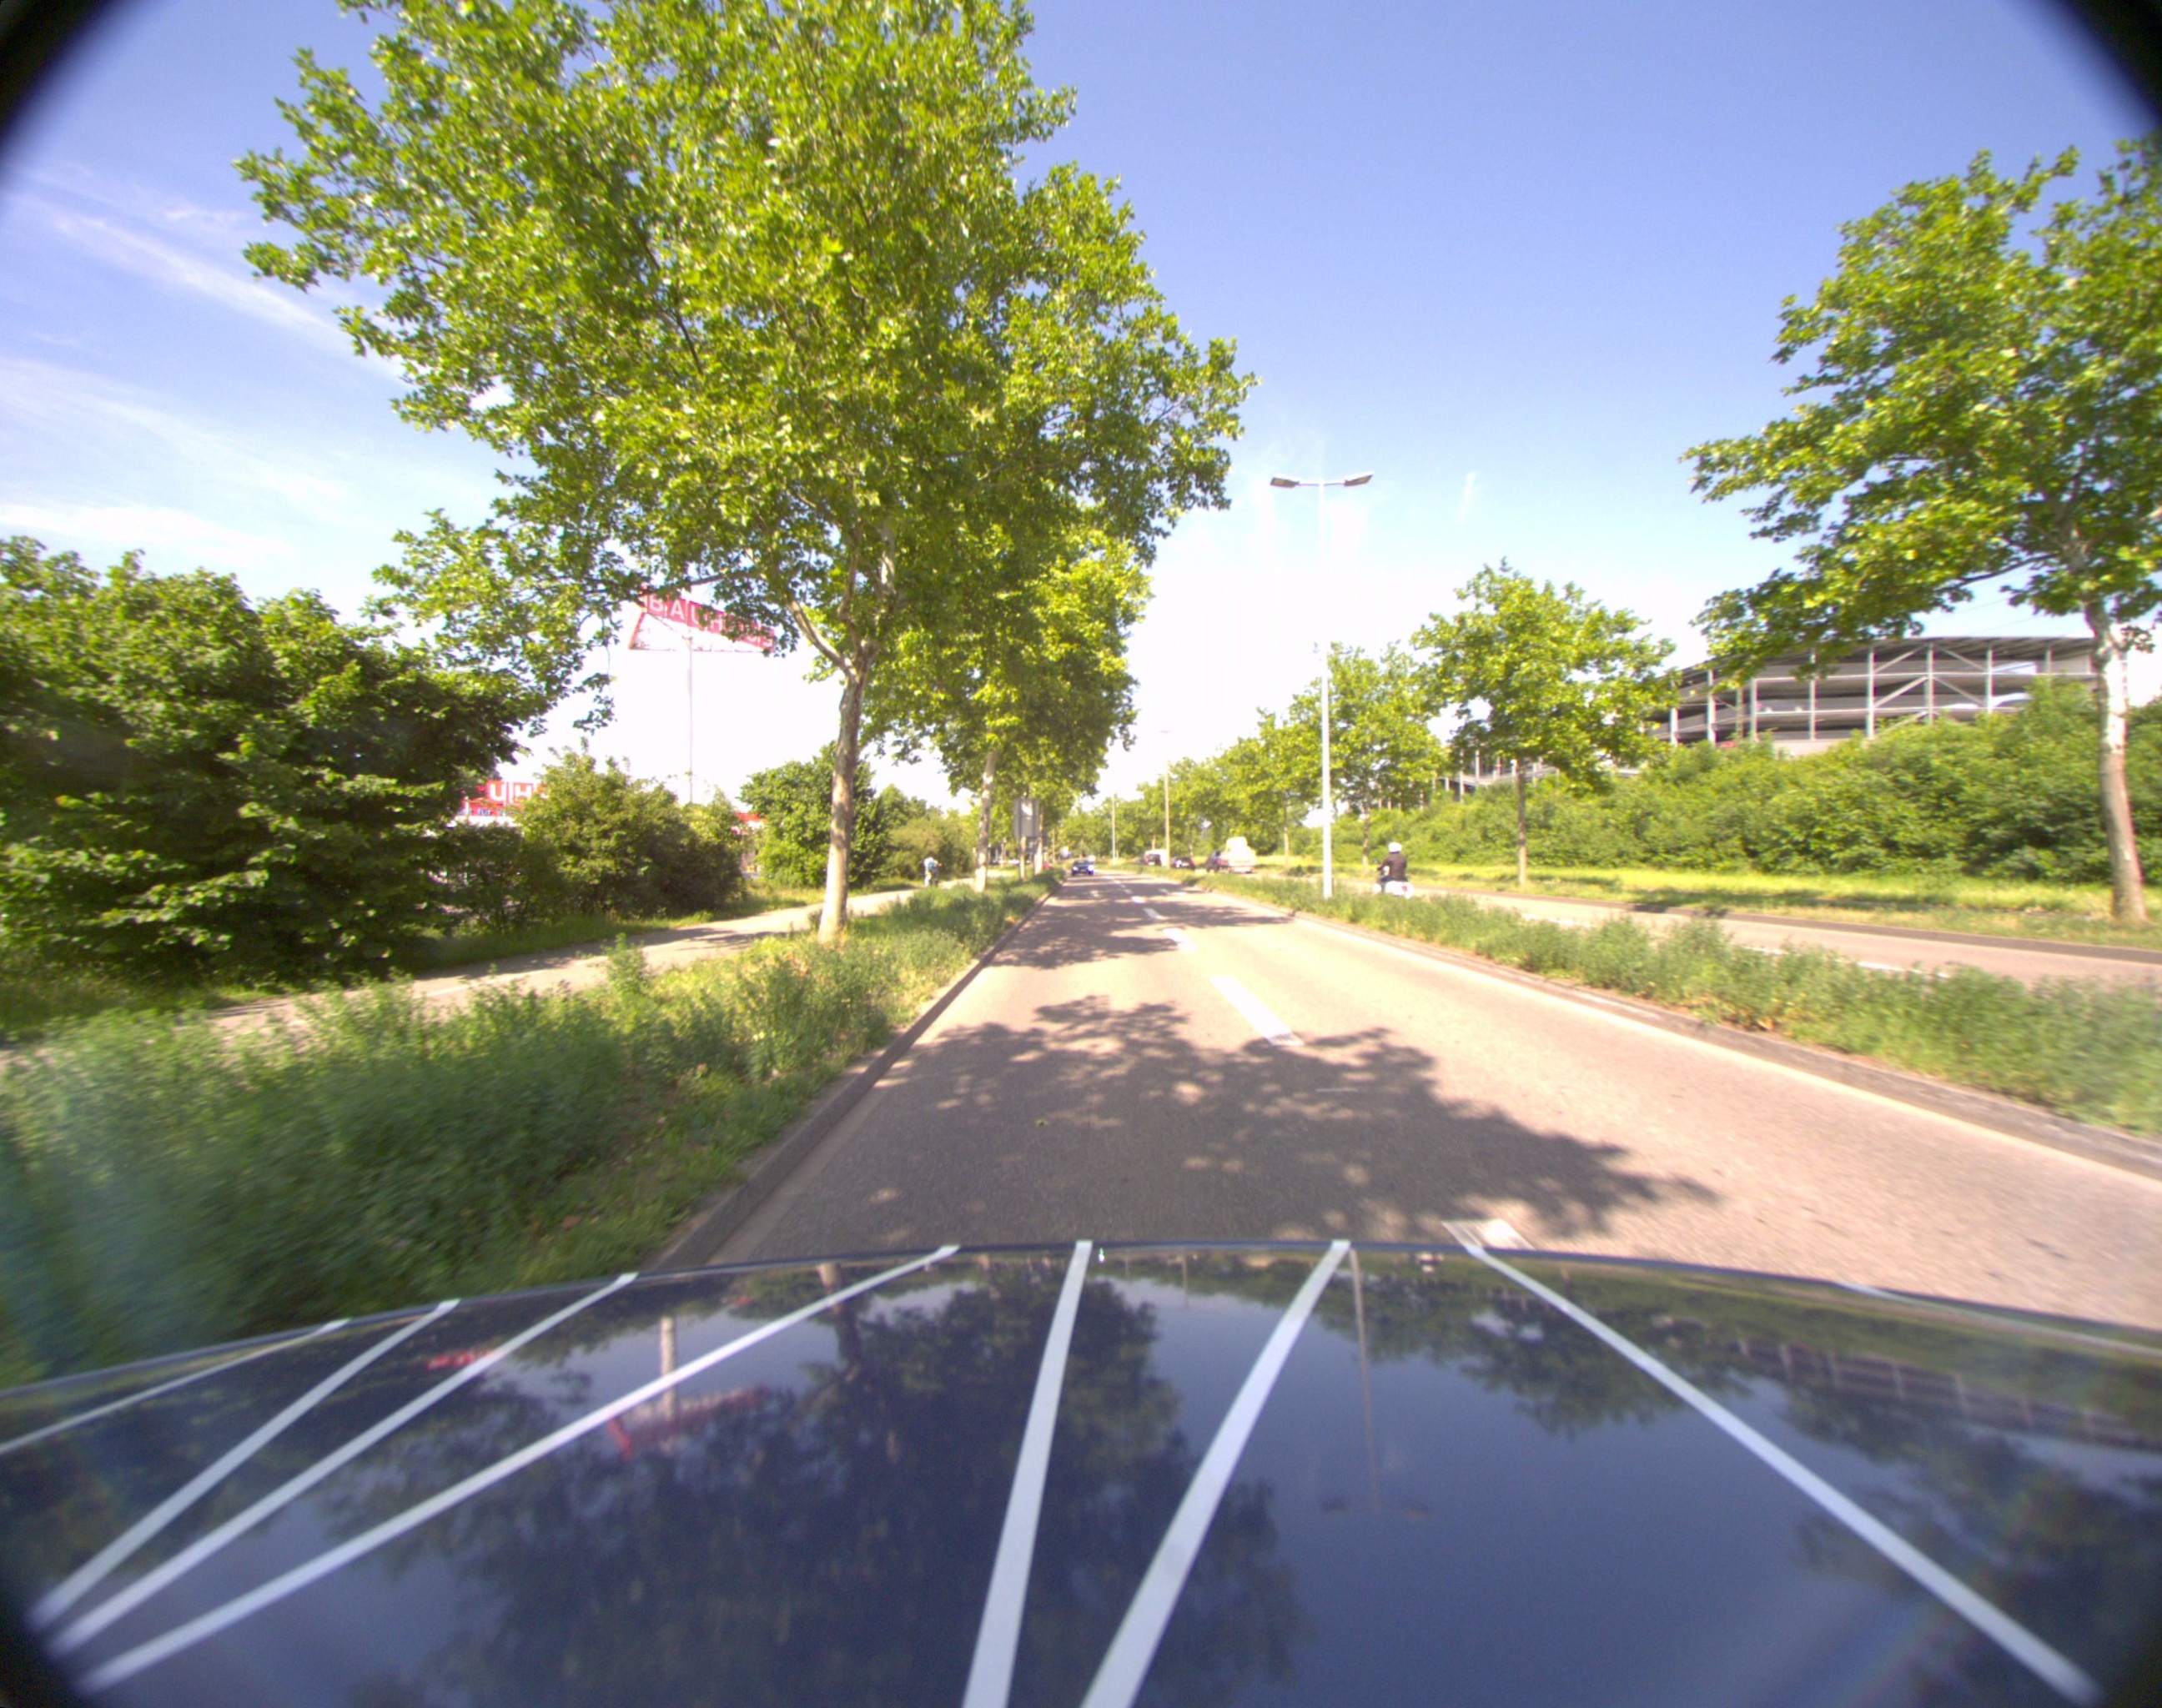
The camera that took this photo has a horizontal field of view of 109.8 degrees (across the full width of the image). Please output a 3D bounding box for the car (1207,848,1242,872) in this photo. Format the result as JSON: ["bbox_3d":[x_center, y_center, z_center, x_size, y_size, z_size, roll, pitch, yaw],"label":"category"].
[{"bbox_3d":[11.508,0.416,61.347,1.769,1.779,5.375,-2,1,0],"label":"car"}]

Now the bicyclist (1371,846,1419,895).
[{"bbox_3d":[7.919,0.399,19.182,0.730,1.184,1.102,-2,1,1],"label":"bicyclist"}]

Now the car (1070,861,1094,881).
[{"bbox_3d":[0.089,1.459,66.646,1.722,1.575,3.752,-1,0,-6],"label":"car"}]

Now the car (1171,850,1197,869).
[{"bbox_3d":[8.454,0.442,62.618,1.607,1.463,3.789,-2,1,-1],"label":"car"}]

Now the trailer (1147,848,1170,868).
[{"bbox_3d":[9.157,0.475,89.880,2.314,2.252,5.538,-1,1,2],"label":"trailer"}]

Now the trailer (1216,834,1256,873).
[{"bbox_3d":[11.561,-0.056,56.914,1.885,2.728,4.828,-2,1,0],"label":"trailer"}]

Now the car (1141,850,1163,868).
[{"bbox_3d":[7.405,0.519,79.627,1.735,1.799,4.231,-2,1,-1],"label":"car"}]

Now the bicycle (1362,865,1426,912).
[{"bbox_3d":[7.950,0.843,19.383,0.730,1.023,2.216,-2,1,1],"label":"bicycle"}]

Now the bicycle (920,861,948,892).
[{"bbox_3d":[-6.597,0.990,34.201,0.724,1.291,2.095,-2,1,2],"label":"bicycle"}]

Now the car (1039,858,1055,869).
[{"bbox_3d":[-5.144,1.484,114.733,1.650,1.592,3.599,-2,0,-13],"label":"car"}]

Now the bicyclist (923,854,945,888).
[{"bbox_3d":[-6.622,0.754,34.201,0.706,1.468,1.009,-2,1,2],"label":"bicyclist"}]
